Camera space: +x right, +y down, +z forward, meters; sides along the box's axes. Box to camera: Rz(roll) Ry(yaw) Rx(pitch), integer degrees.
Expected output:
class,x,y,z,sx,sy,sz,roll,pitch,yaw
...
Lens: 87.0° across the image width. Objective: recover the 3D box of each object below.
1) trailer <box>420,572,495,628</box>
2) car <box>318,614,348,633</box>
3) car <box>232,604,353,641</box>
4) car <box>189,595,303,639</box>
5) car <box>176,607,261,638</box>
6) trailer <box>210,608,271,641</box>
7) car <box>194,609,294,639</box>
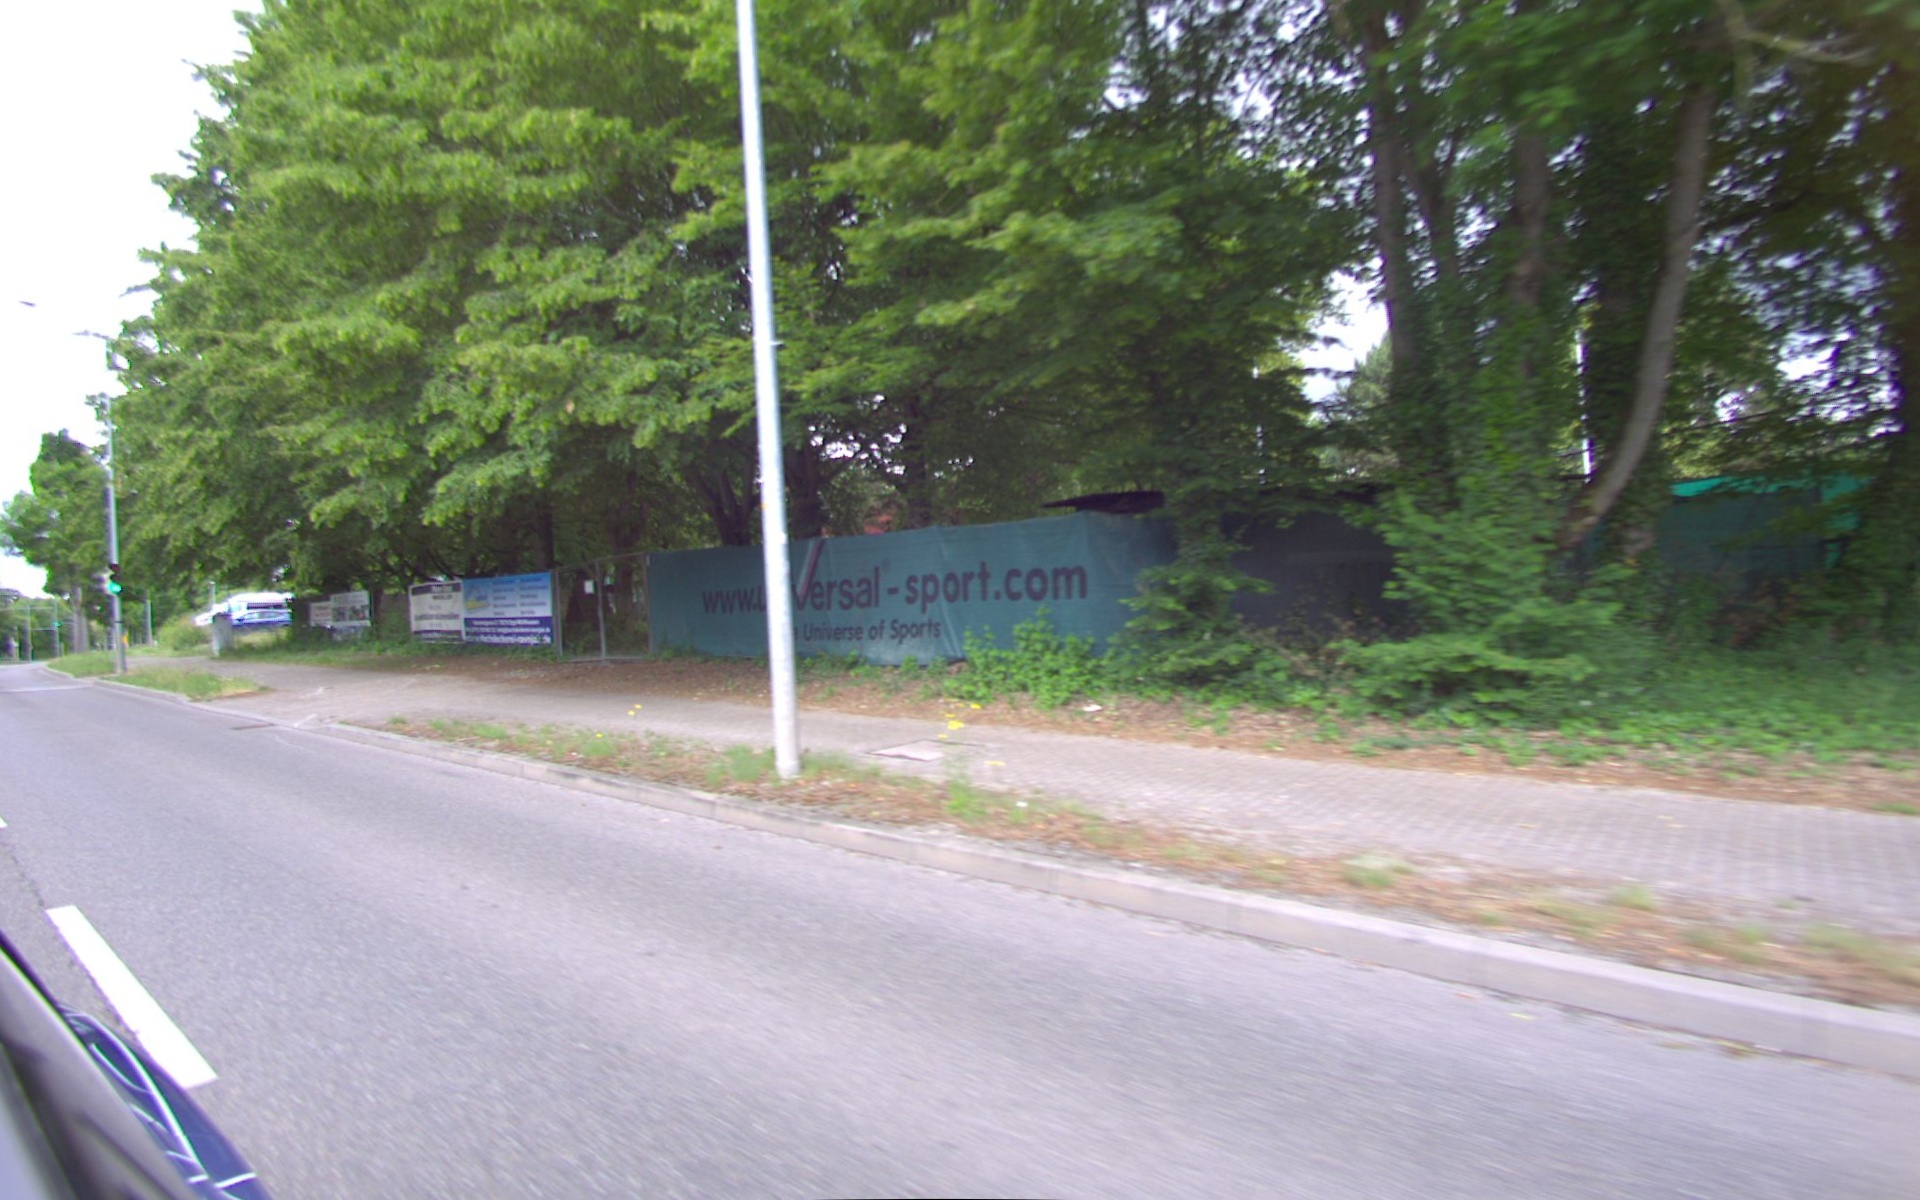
class,x,y,z,sx,sy,sz,roll,pitch,yaw
trailer,-30.577,0.036,61.430,2.614,3.097,7.210,-4,1,-38
car,-55.128,2.086,88.913,1.967,1.428,4.057,-3,0,-35
car,-34.981,1.172,53.138,5.091,1.573,1.889,-4,0,-39
car,-40.546,0.936,57.499,5.091,2.122,2.219,-4,0,-39
car,-44.790,1.343,61.217,3.980,1.559,2.005,-4,0,-34
trailer,-49.262,1.662,69.372,3.321,2.073,1.682,-2,-1,-34
car,-38.796,1.282,54.896,4.322,1.326,1.566,-4,0,-39
